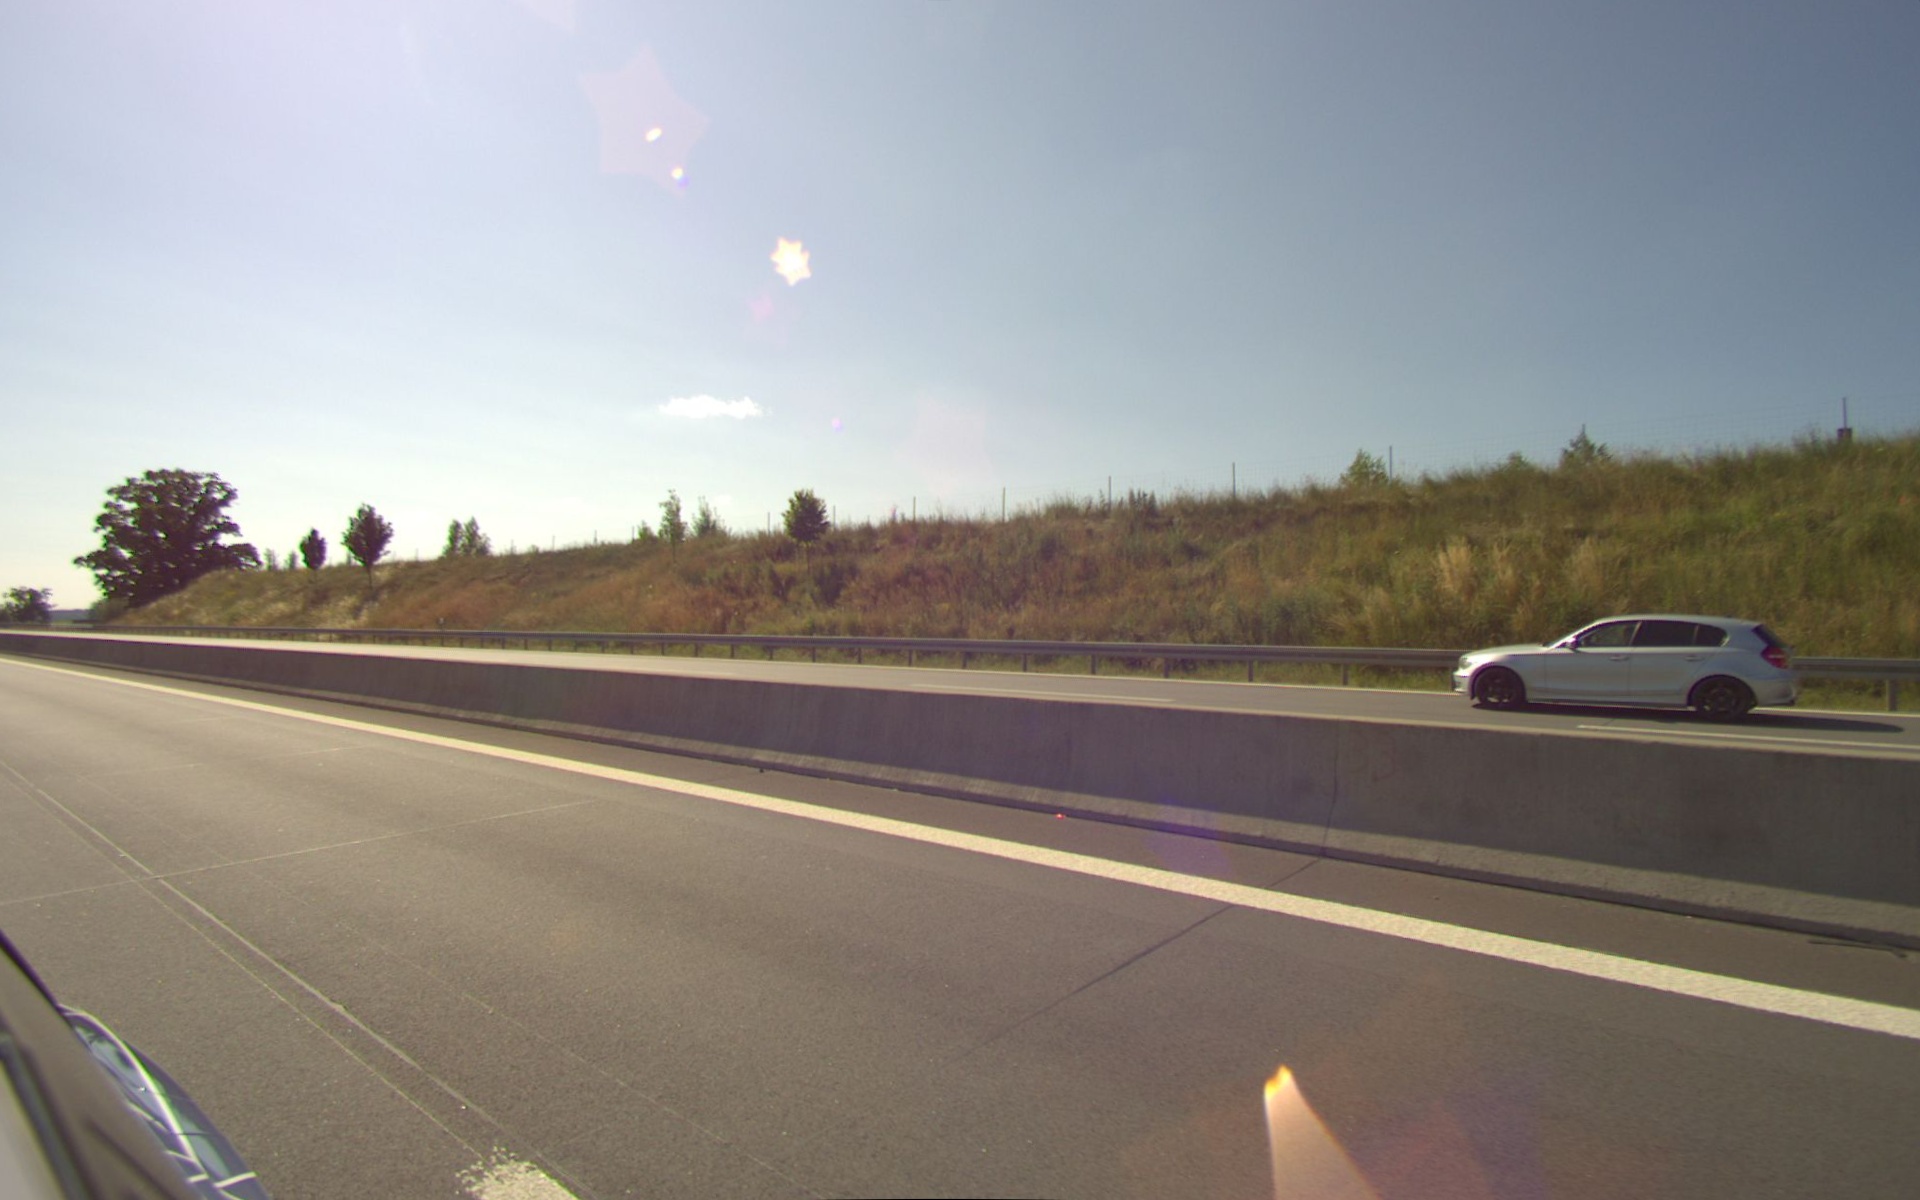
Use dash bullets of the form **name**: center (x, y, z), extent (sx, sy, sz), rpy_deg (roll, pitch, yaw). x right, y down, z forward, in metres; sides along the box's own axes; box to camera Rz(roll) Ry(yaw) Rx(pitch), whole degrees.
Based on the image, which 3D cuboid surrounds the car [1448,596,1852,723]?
- **car**: center (9.708, 0.770, 14.523), extent (4.566, 1.542, 1.842), rpy_deg (-1, -1, 41)
